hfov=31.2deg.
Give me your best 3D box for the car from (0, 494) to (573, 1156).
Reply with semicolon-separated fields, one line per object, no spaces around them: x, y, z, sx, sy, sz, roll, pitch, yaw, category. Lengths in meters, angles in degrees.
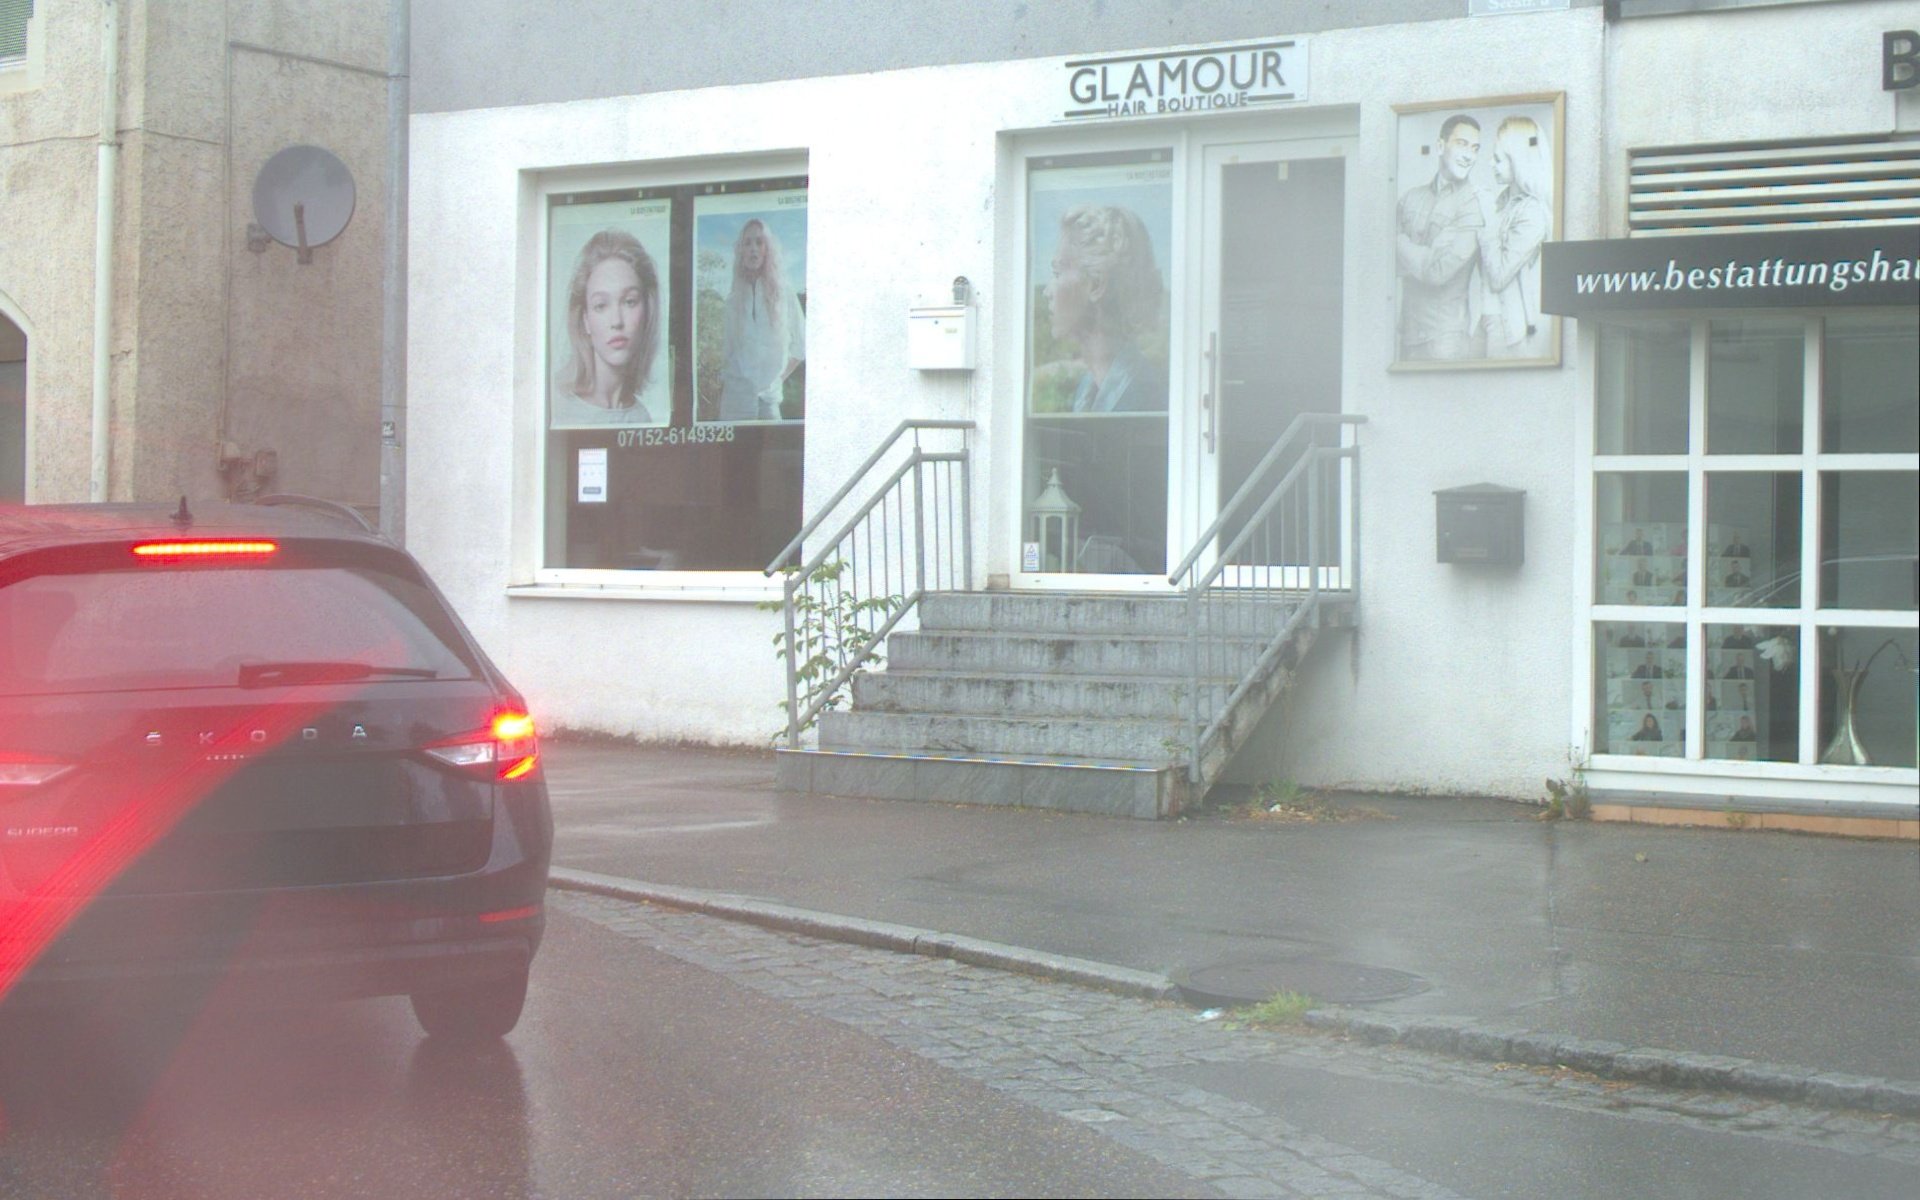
-2.564;0.450;9.989;1.732;1.445;4.243;-1;3;-23;car
